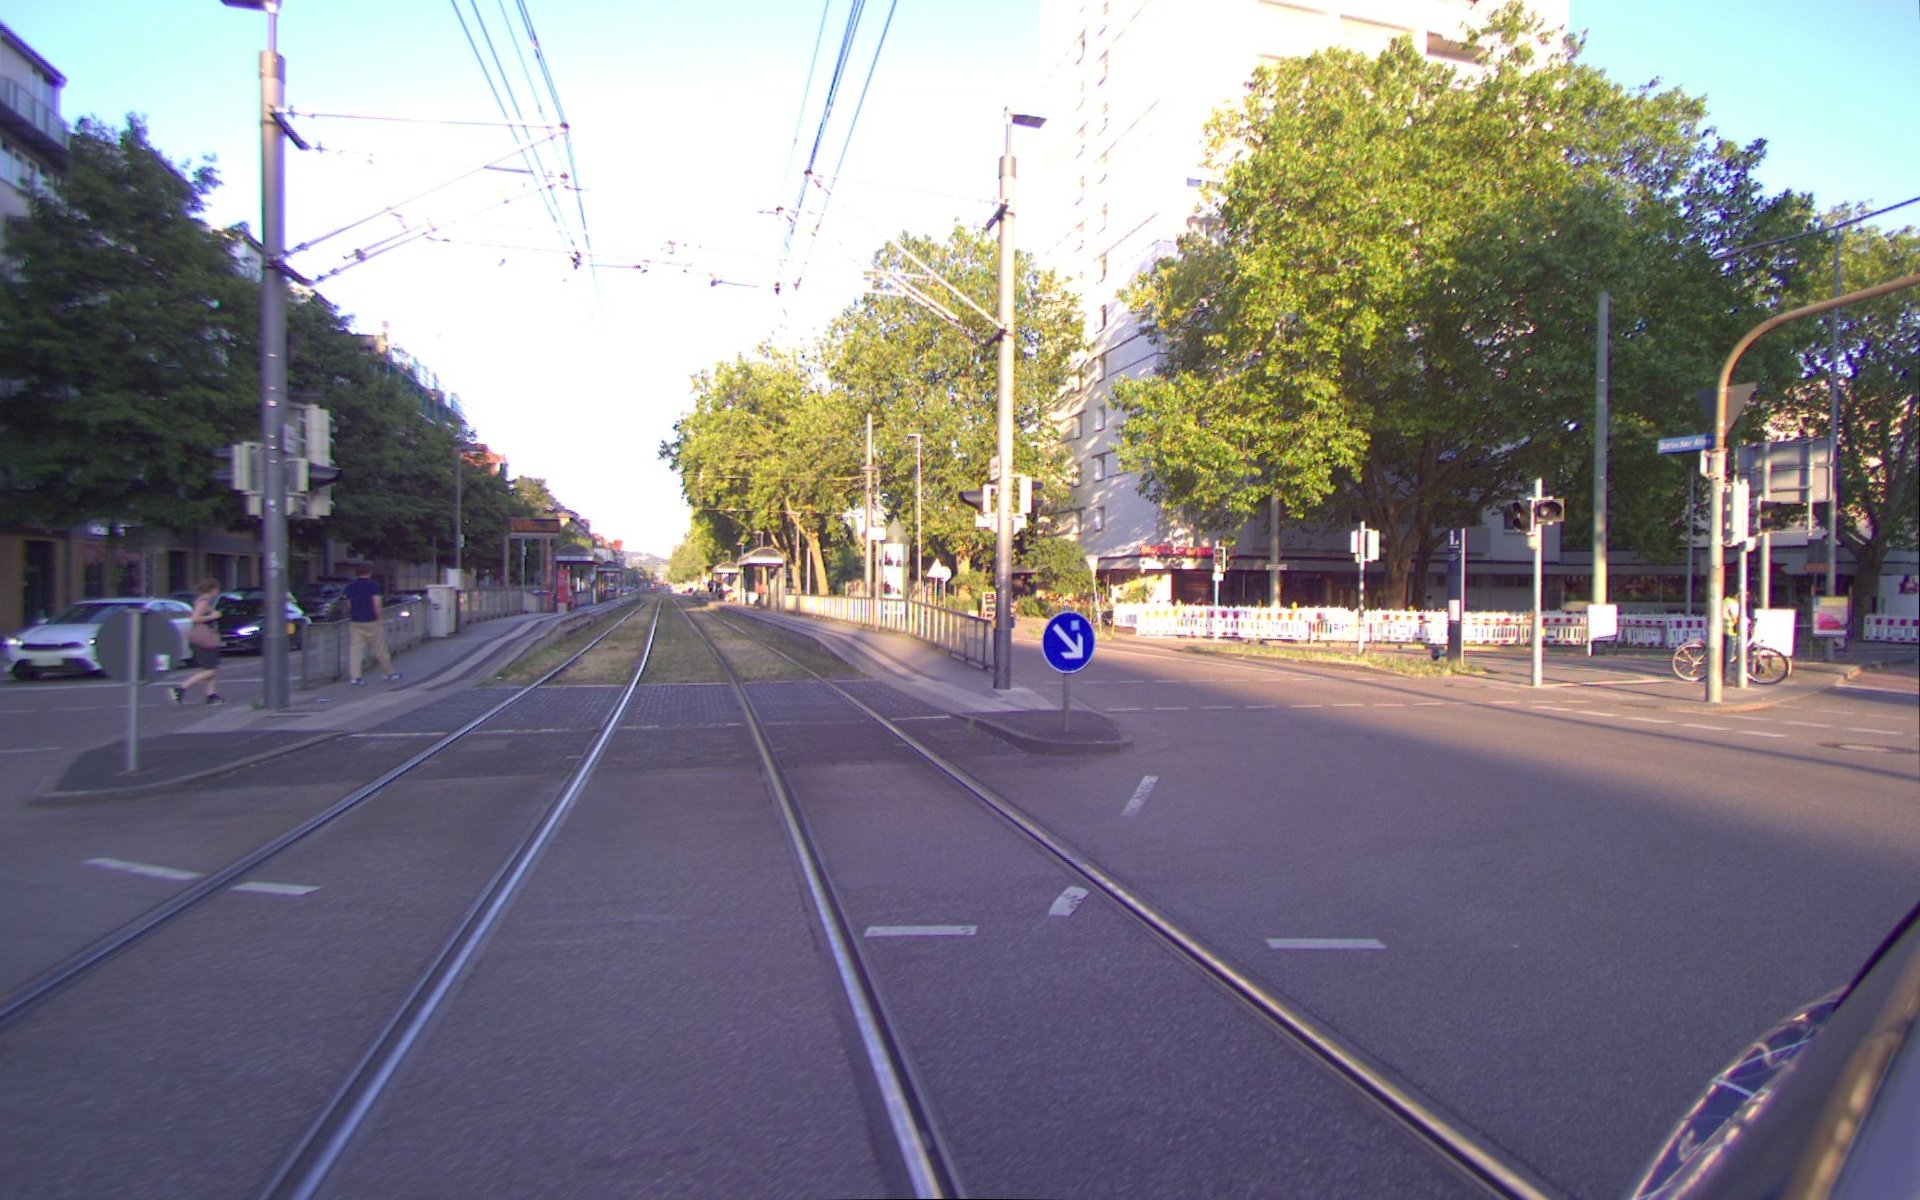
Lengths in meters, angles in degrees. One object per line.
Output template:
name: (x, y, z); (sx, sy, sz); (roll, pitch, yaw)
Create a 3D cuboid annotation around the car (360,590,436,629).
car: (-23.122, 0.362, 41.758); (1.811, 1.505, 4.008); (-1, 0, -15)

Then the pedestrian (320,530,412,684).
pedestrian: (-8.931, 0.096, 15.244); (0.809, 2.236, 0.866); (-1, 0, 15)

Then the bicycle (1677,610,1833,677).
bicycle: (13.929, 0.744, 17.800); (2.045, 1.123, 0.624); (-1, 0, 19)

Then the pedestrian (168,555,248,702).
pedestrian: (-9.494, 0.344, 12.799); (0.532, 1.801, 0.791); (-1, 0, -14)

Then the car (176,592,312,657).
car: (-18.285, 0.569, 26.048); (1.811, 1.505, 4.008); (-1, 0, -19)

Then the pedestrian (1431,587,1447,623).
pedestrian: (21.856, 0.237, 46.210); (0.635, 1.608, 0.740); (-1, 0, 26)

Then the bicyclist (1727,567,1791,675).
bicyclist: (14.019, 0.357, 17.773); (0.689, 1.847, 0.624); (-1, 0, 19)

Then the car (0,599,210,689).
car: (-16.338, 0.745, 19.380); (1.811, 1.505, 4.008); (-1, 0, -15)
